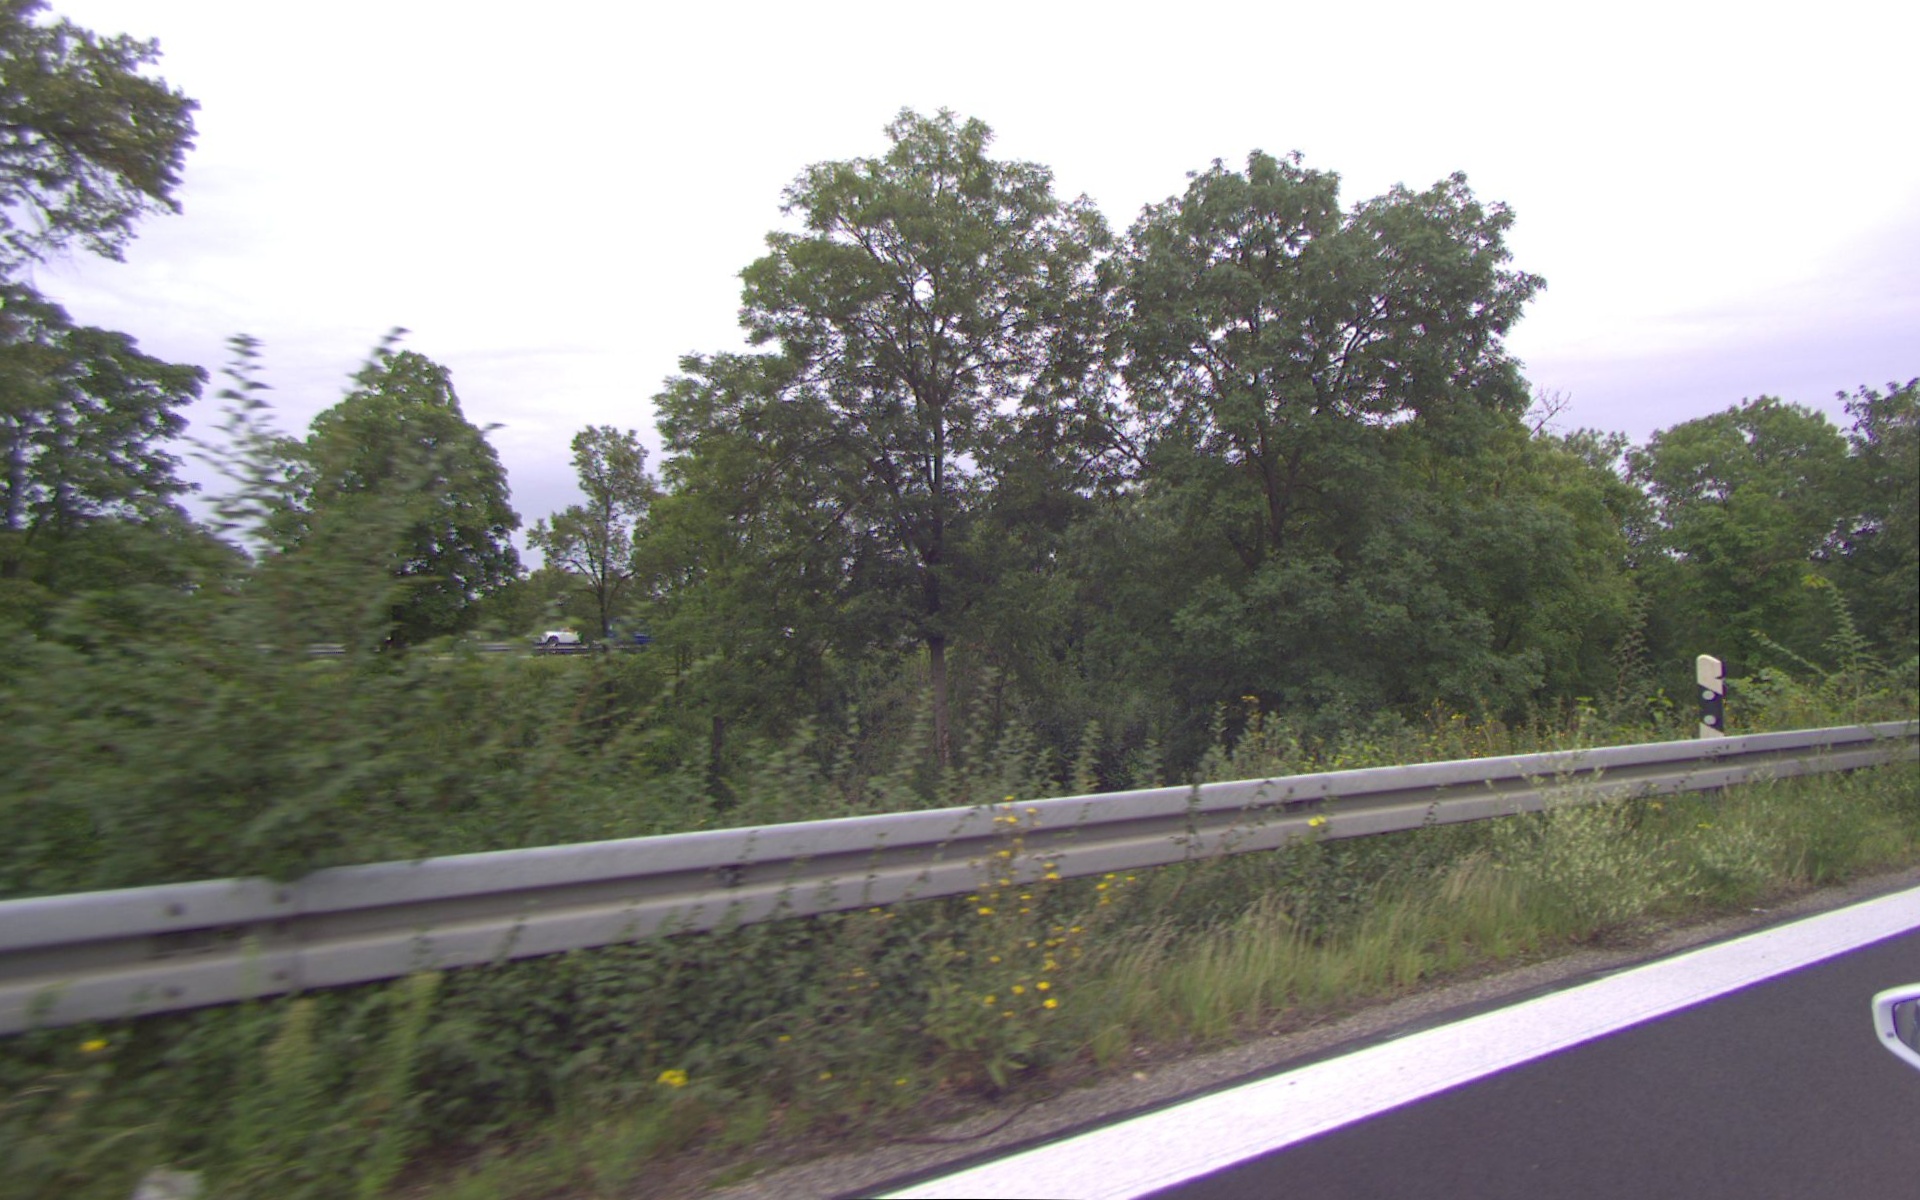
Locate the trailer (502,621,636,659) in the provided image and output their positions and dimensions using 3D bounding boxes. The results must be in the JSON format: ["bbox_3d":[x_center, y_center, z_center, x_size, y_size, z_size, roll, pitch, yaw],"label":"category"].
[{"bbox_3d":[-22.129,2.233,57.191,2.450,2.021,7.046,-1,-2,32],"label":"trailer"}]

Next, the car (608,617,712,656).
[{"bbox_3d":[-18.649,2.274,62.788,2.339,2.296,6.241,0,-2,32],"label":"car"}]
